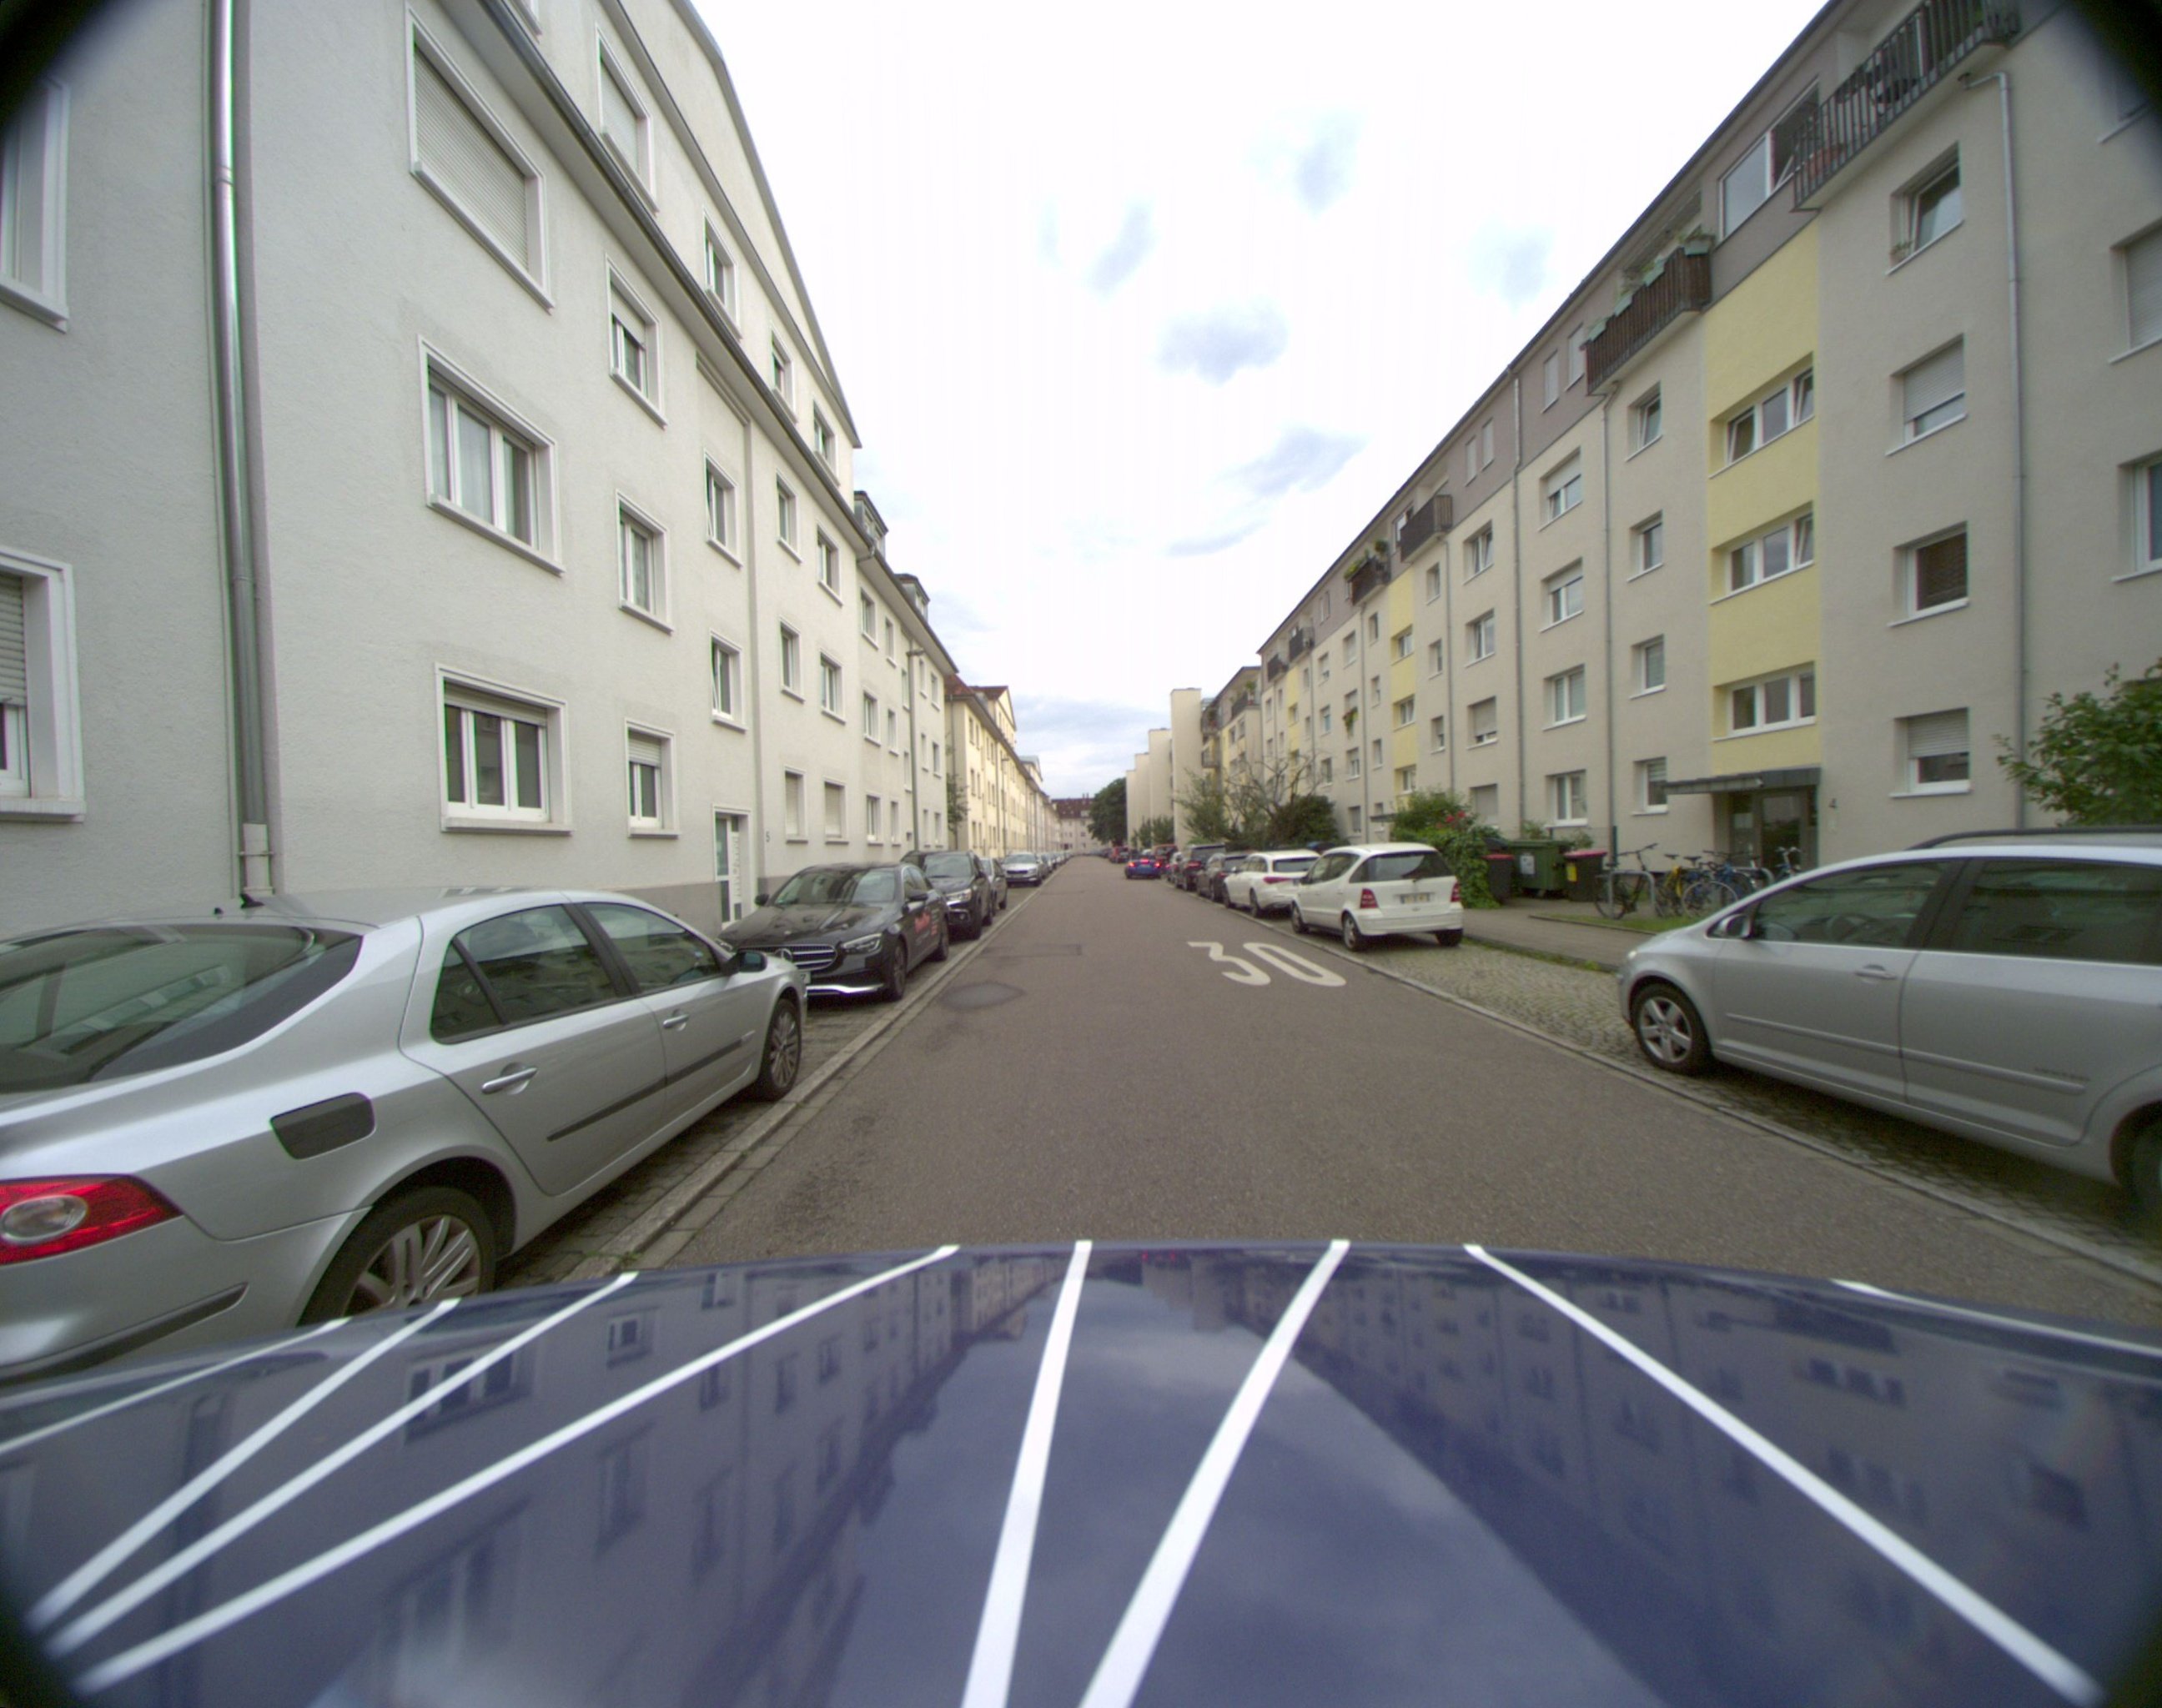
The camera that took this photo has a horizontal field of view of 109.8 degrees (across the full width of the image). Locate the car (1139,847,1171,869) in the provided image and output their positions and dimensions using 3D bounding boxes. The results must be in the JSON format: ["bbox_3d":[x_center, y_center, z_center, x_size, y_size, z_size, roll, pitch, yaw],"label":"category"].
[{"bbox_3d":[5.147,0.268,53.045,1.707,1.436,3.541,-2,0,-2],"label":"car"}]

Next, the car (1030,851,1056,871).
[{"bbox_3d":[-2.720,0.501,55.535,1.737,1.402,4.217,-1,0,-1],"label":"car"}]

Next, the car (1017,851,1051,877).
[{"bbox_3d":[-2.682,0.531,44.293,1.737,1.418,4.217,-1,0,0],"label":"car"}]

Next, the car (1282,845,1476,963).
[{"bbox_3d":[4.736,0.697,12.683,1.689,1.629,3.726,-2,0,-1],"label":"car"}]

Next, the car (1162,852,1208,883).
[{"bbox_3d":[4.913,0.609,36.307,1.575,1.389,3.541,-2,0,-2],"label":"car"}]

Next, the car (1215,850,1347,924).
[{"bbox_3d":[4.617,0.701,18.286,1.723,1.501,4.686,-2,0,-2],"label":"car"}]

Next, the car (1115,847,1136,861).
[{"bbox_3d":[5.085,0.017,87.010,2.013,1.436,4.196,-2,0,-2],"label":"car"}]

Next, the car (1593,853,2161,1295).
[{"bbox_3d":[4.739,0.805,3.777,1.658,1.542,3.915,-3,0,-1],"label":"car"}]

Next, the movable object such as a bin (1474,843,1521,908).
[{"bbox_3d":[9.043,0.457,16.511,0.659,1.360,0.587,-2,2,-4],"label":"movable object such as a bin"}]

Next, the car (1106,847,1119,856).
[{"bbox_3d":[5.400,-0.399,131.570,1.745,1.534,3.636,-2,0,-6],"label":"car"}]

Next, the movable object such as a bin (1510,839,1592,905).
[{"bbox_3d":[10.498,0.383,17.021,1.059,1.367,1.188,-2,2,-5],"label":"movable object such as a bin"}]

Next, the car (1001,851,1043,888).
[{"bbox_3d":[-2.684,0.670,35.381,1.737,1.538,3.676,-1,1,-1],"label":"car"}]

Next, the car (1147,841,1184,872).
[{"bbox_3d":[5.160,0.159,46.856,1.707,1.796,3.541,-2,0,-2],"label":"car"}]

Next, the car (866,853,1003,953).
[{"bbox_3d":[-2.618,0.805,14.543,1.853,1.589,4.159,-1,0,-1],"label":"car"}]

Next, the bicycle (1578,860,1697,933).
[{"bbox_3d":[8.699,0.620,11.974,0.489,1.018,1.878,-2,0,0],"label":"bicycle"}]

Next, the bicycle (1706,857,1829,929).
[{"bbox_3d":[10.561,0.569,11.758,0.421,1.018,1.558,-2,0,-3],"label":"bicycle"}]

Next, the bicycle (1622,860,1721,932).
[{"bbox_3d":[9.178,0.625,11.870,0.357,1.018,1.497,-2,1,0],"label":"bicycle"}]

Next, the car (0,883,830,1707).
[{"bbox_3d":[-2.692,0.967,3.363,1.737,1.454,4.429,-1,0,-1],"label":"car"}]

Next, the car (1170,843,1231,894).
[{"bbox_3d":[4.568,0.529,29.496,1.575,1.769,4.451,-2,0,-1],"label":"car"}]

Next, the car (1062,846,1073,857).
[{"bbox_3d":[-2.131,-0.336,121.234,1.737,1.670,3.591,-1,0,-1],"label":"car"}]

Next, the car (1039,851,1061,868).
[{"bbox_3d":[-2.552,0.450,63.244,1.737,1.363,4.217,-1,0,-1],"label":"car"}]

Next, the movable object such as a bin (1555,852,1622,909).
[{"bbox_3d":[10.638,0.537,15.957,0.871,1.103,0.787,-2,2,-4],"label":"movable object such as a bin"}]

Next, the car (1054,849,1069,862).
[{"bbox_3d":[-2.374,0.153,92.212,1.737,1.443,4.217,-1,0,-1],"label":"car"}]

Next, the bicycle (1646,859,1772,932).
[{"bbox_3d":[9.675,0.605,11.785,0.479,1.018,1.754,-2,0,0],"label":"bicycle"}]

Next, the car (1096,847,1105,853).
[{"bbox_3d":[4.636,-0.949,181.405,1.745,1.534,3.636,-2,0,-6],"label":"car"}]

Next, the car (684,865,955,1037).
[{"bbox_3d":[-2.728,0.911,9.073,1.786,1.454,4.322,-1,0,-1],"label":"car"}]

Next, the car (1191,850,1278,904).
[{"bbox_3d":[4.614,0.639,23.468,1.729,1.445,4.482,-2,1,0],"label":"car"}]

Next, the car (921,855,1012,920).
[{"bbox_3d":[-2.846,0.782,19.602,1.737,1.478,3.756,-1,0,0],"label":"car"}]

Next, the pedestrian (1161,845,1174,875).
[{"bbox_3d":[4.765,0.320,42.003,0.603,1.657,0.622,-2,1,-2],"label":"pedestrian"}]

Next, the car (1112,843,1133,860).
[{"bbox_3d":[5.043,-0.266,93.243,2.188,2.020,4.422,-2,0,-2],"label":"car"}]

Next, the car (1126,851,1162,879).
[{"bbox_3d":[3.390,0.575,41.520,1.679,1.307,3.907,-2,2,1],"label":"car"}]

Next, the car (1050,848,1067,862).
[{"bbox_3d":[-2.442,0.055,82.418,1.737,1.443,4.217,-1,0,-1],"label":"car"}]
